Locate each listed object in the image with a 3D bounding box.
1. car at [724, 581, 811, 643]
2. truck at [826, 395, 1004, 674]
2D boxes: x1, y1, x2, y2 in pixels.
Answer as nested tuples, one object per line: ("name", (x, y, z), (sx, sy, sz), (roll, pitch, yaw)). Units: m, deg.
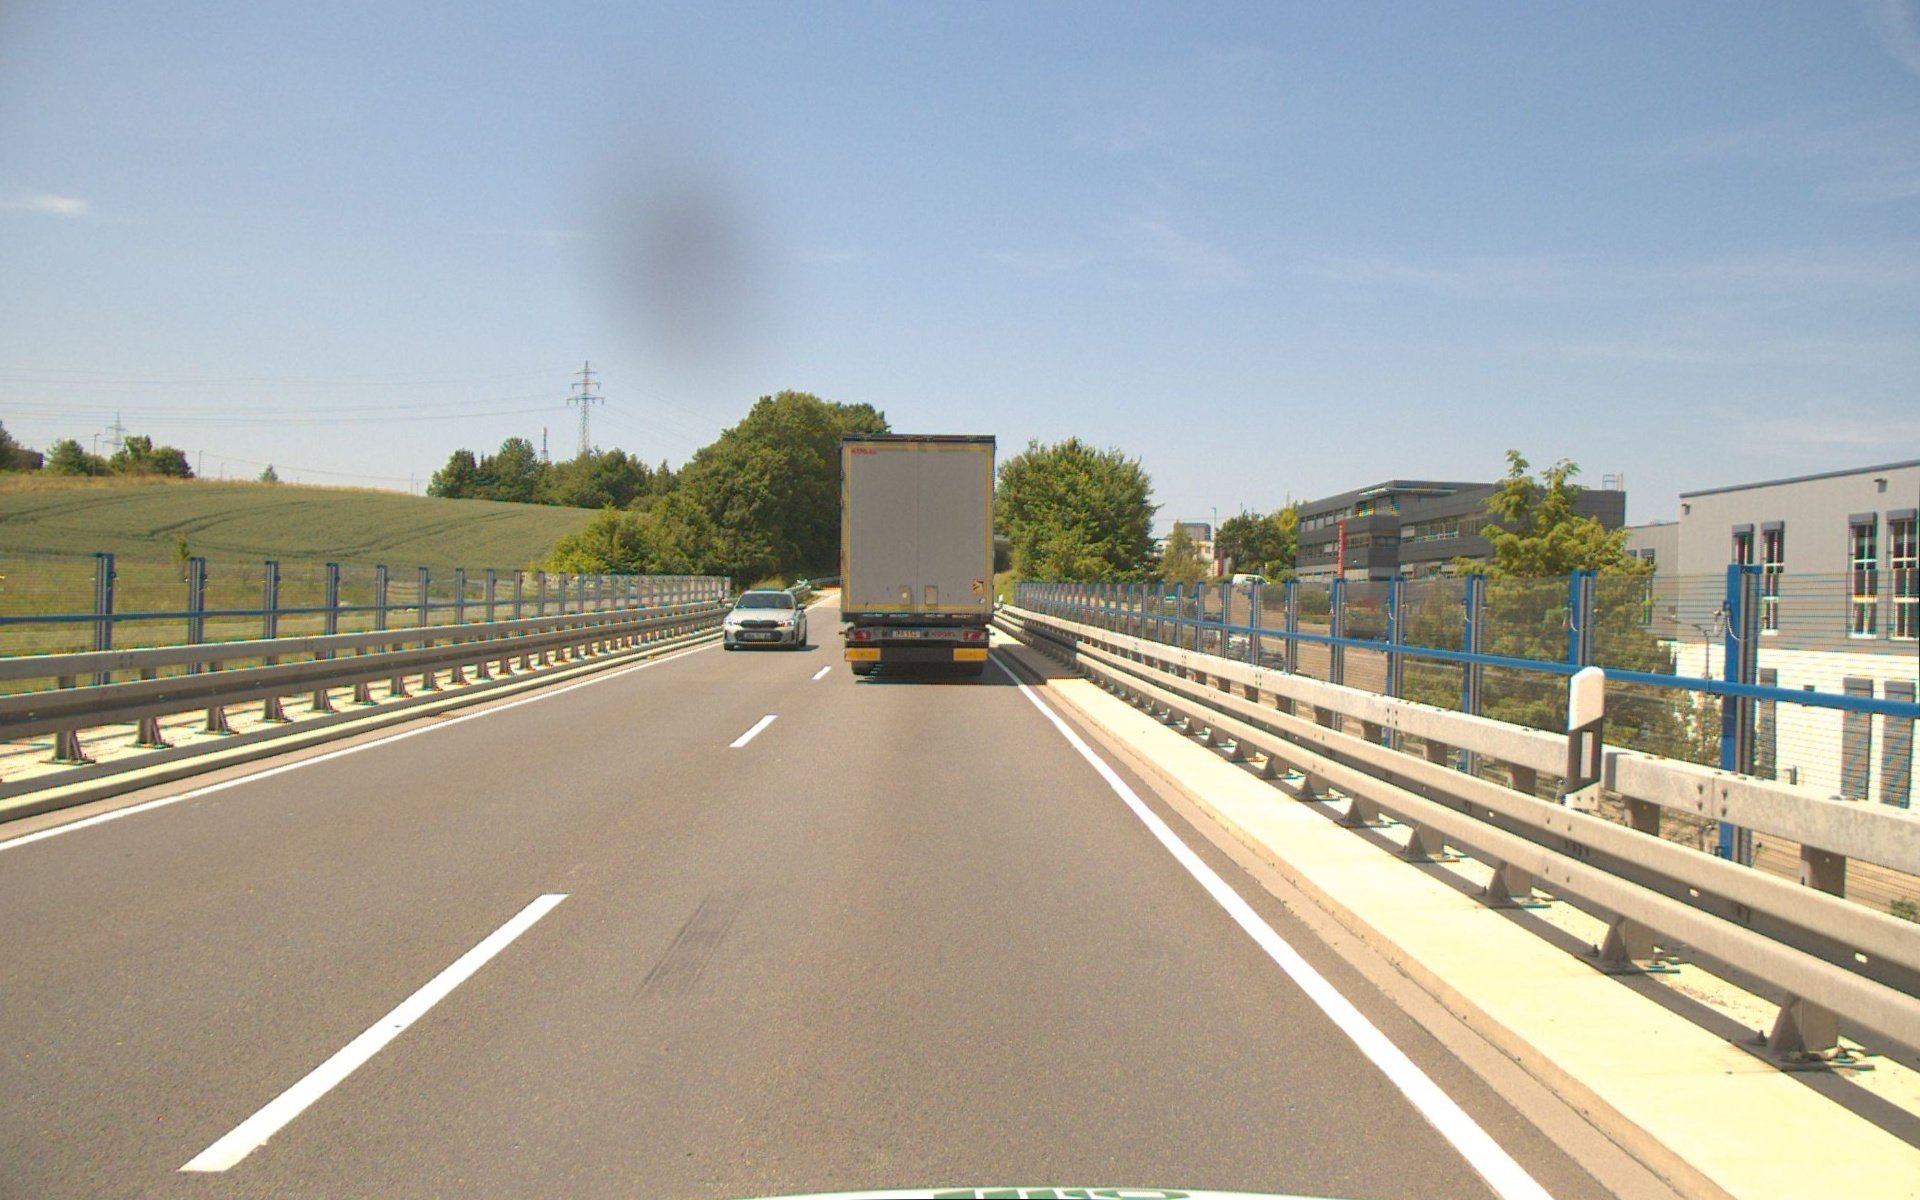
("car", (-4.750, 0.265, 41.363), (1.745, 1.461, 4.833), (0, 0, -2))
("truck", (-0.908, -1.008, 31.346), (2.808, 4.436, 9.783), (0, -1, -2))
